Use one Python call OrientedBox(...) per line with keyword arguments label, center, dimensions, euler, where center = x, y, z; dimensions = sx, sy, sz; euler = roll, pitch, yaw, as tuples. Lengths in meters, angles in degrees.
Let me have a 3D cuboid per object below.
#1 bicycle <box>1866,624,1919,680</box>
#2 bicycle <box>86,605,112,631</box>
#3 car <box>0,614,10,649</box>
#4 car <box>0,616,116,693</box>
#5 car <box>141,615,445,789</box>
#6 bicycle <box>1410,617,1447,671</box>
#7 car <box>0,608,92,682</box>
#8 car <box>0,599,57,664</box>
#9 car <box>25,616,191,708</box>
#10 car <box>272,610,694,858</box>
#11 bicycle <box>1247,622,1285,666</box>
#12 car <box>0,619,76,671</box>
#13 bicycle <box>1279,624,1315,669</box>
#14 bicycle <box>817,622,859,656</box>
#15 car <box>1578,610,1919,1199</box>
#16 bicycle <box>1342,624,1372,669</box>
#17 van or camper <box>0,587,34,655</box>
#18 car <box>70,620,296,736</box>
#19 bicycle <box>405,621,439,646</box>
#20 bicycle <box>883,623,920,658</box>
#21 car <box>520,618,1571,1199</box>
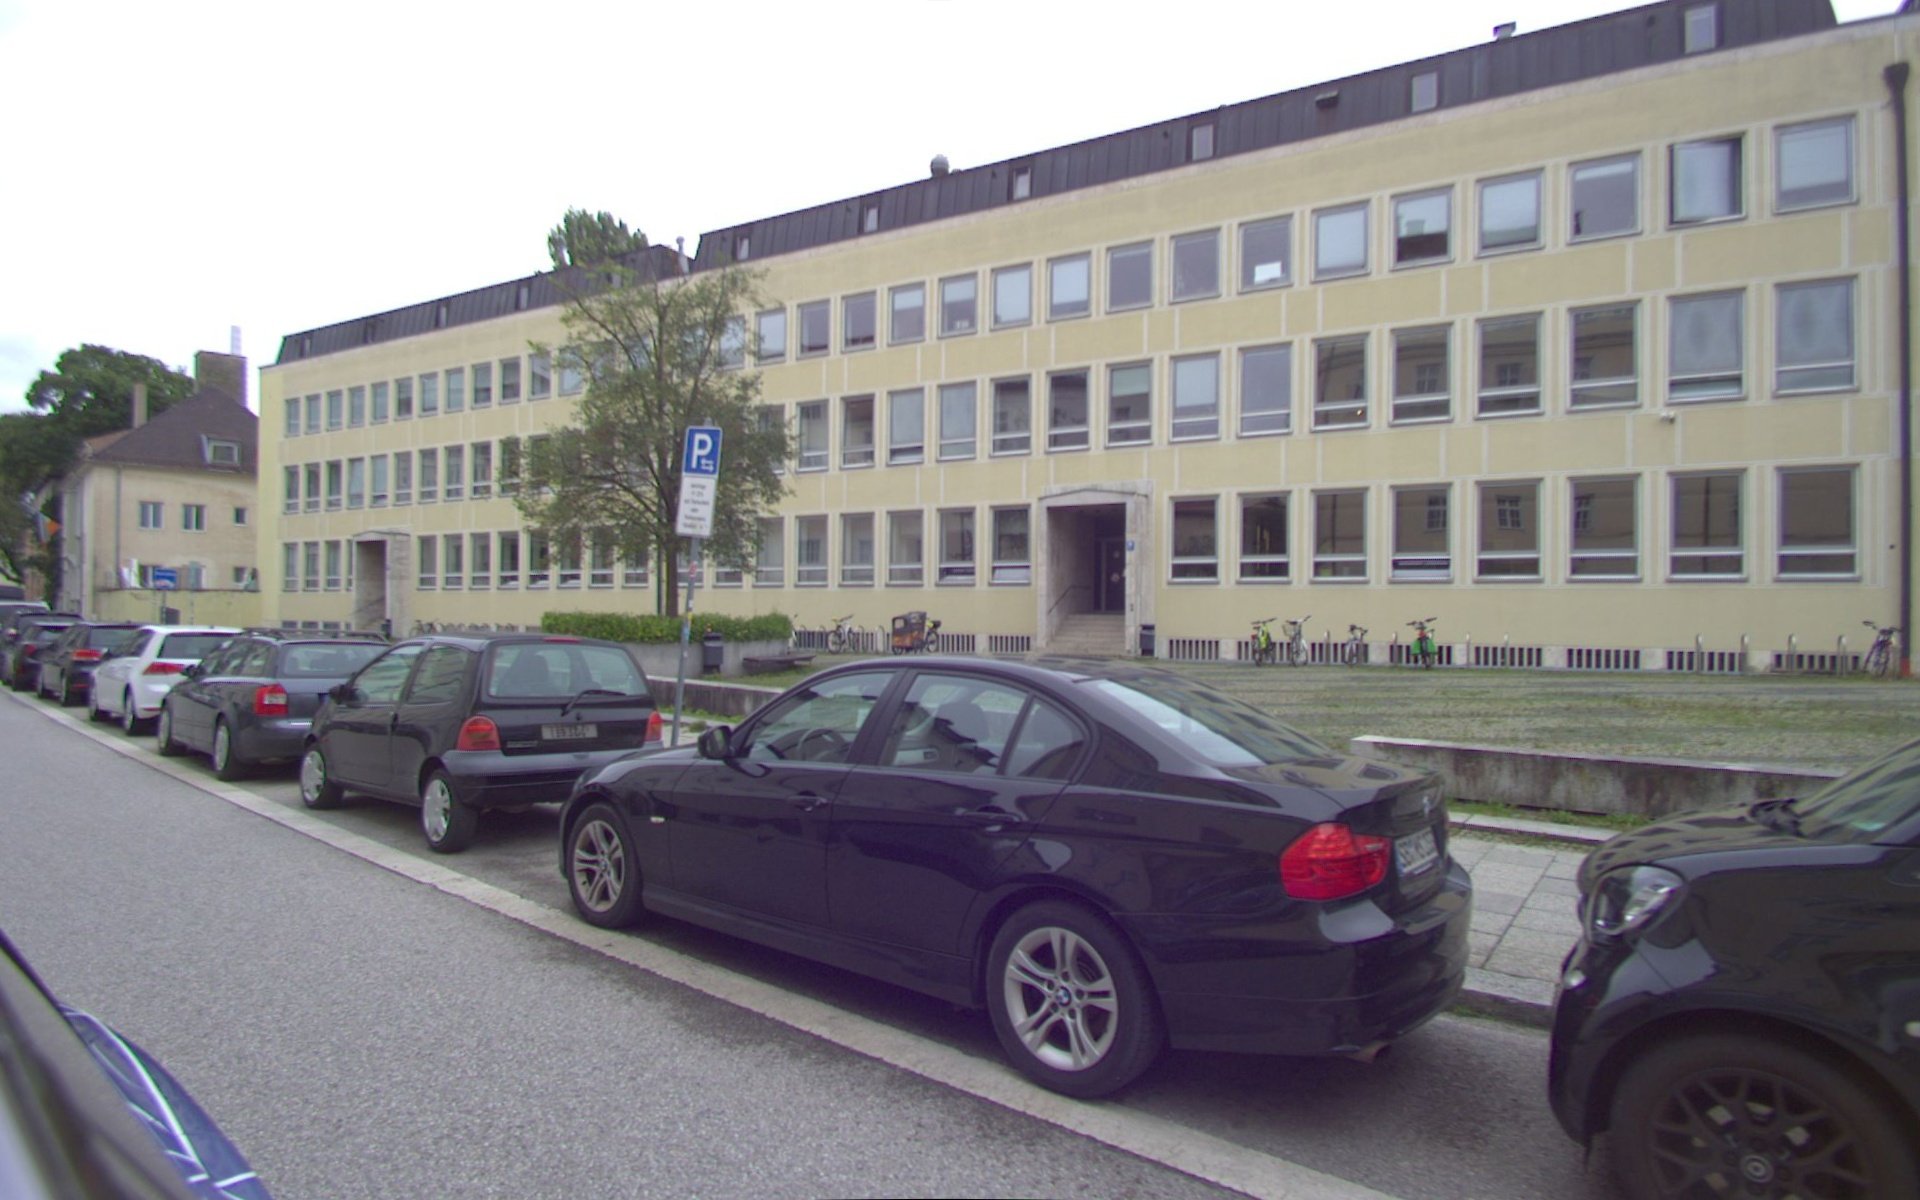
OrientedBox(label="bicycle", center=(17.341, 0.952, 18.782), dimensions=(0.412, 0.952, 1.399), euler=(-1, 0, 26))
OrientedBox(label="bicycle", center=(-43.381, 0.907, 51.005), dimensions=(1.869, 1.243, 0.793), euler=(0, -1, 44))
OrientedBox(label="car", center=(-43.842, 1.378, 45.174), dimensions=(3.906, 1.508, 1.635), euler=(-1, -3, 41))
OrientedBox(label="car", center=(-19.586, 1.130, 21.856), dimensions=(3.820, 1.506, 1.613), euler=(-1, -2, 43))
OrientedBox(label="car", center=(-7.240, 0.939, 10.807), dimensions=(4.273, 1.506, 1.613), euler=(-1, -3, 41))
OrientedBox(label="bicycle", center=(10.454, 0.963, 22.543), dimensions=(0.699, 1.104, 1.835), euler=(-1, 0, 26))
OrientedBox(label="car", center=(-23.253, 1.097, 25.452), dimensions=(4.141, 1.702, 1.696), euler=(-1, -3, 44))
OrientedBox(label="car", center=(-30.744, 1.014, 32.556), dimensions=(4.959, 1.975, 1.895), euler=(-1, -3, 41))
OrientedBox(label="car", center=(-15.731, 1.076, 18.617), dimensions=(4.098, 1.506, 1.614), euler=(-1, -3, 40))
OrientedBox(label="car", center=(-3.861, 0.879, 7.968), dimensions=(3.601, 1.506, 1.614), euler=(-1, -4, 40))
OrientedBox(label="bicycle", center=(7.327, 1.042, 24.195), dimensions=(0.413, 0.952, 1.938), euler=(-1, 0, 30))
OrientedBox(label="car", center=(-26.999, 1.285, 29.250), dimensions=(3.709, 1.417, 1.784), euler=(-1, -4, 44))
OrientedBox(label="bicycle", center=(7.879, 1.077, 23.648), dimensions=(0.413, 0.952, 1.844), euler=(-1, 0, 30))
OrientedBox(label="bicycle", center=(-3.698, 1.181, 30.766), dimensions=(0.500, 0.952, 1.596), euler=(-1, 0, 24))
OrientedBox(label="car", center=(3.092, 0.790, 2.149), dimensions=(2.883, 1.477, 1.504), euler=(-1, -4, 38))
OrientedBox(label="bicycle", center=(9.099, 1.055, 23.176), dimensions=(0.413, 0.952, 1.396), euler=(-1, 0, 31))
OrientedBox(label="van or camper", center=(-39.913, 0.828, 41.694), dimensions=(2.266, 2.671, 5.564), euler=(4, -3, -45))
OrientedBox(label="car", center=(-11.369, 1.056, 14.703), dimensions=(4.292, 1.433, 1.723), euler=(-1, -4, 41))
OrientedBox(label="bicycle", center=(-22.014, 1.366, 41.440), dimensions=(0.410, 0.952, 1.405), euler=(-1, 0, 14))
OrientedBox(label="bicycle", center=(-1.681, 1.170, 29.512), dimensions=(0.499, 0.952, 1.599), euler=(-1, 0, 19))
OrientedBox(label="car", center=(0.033, 0.854, 4.536), dimensions=(4.461, 1.477, 1.757), euler=(-1, -4, 39))
